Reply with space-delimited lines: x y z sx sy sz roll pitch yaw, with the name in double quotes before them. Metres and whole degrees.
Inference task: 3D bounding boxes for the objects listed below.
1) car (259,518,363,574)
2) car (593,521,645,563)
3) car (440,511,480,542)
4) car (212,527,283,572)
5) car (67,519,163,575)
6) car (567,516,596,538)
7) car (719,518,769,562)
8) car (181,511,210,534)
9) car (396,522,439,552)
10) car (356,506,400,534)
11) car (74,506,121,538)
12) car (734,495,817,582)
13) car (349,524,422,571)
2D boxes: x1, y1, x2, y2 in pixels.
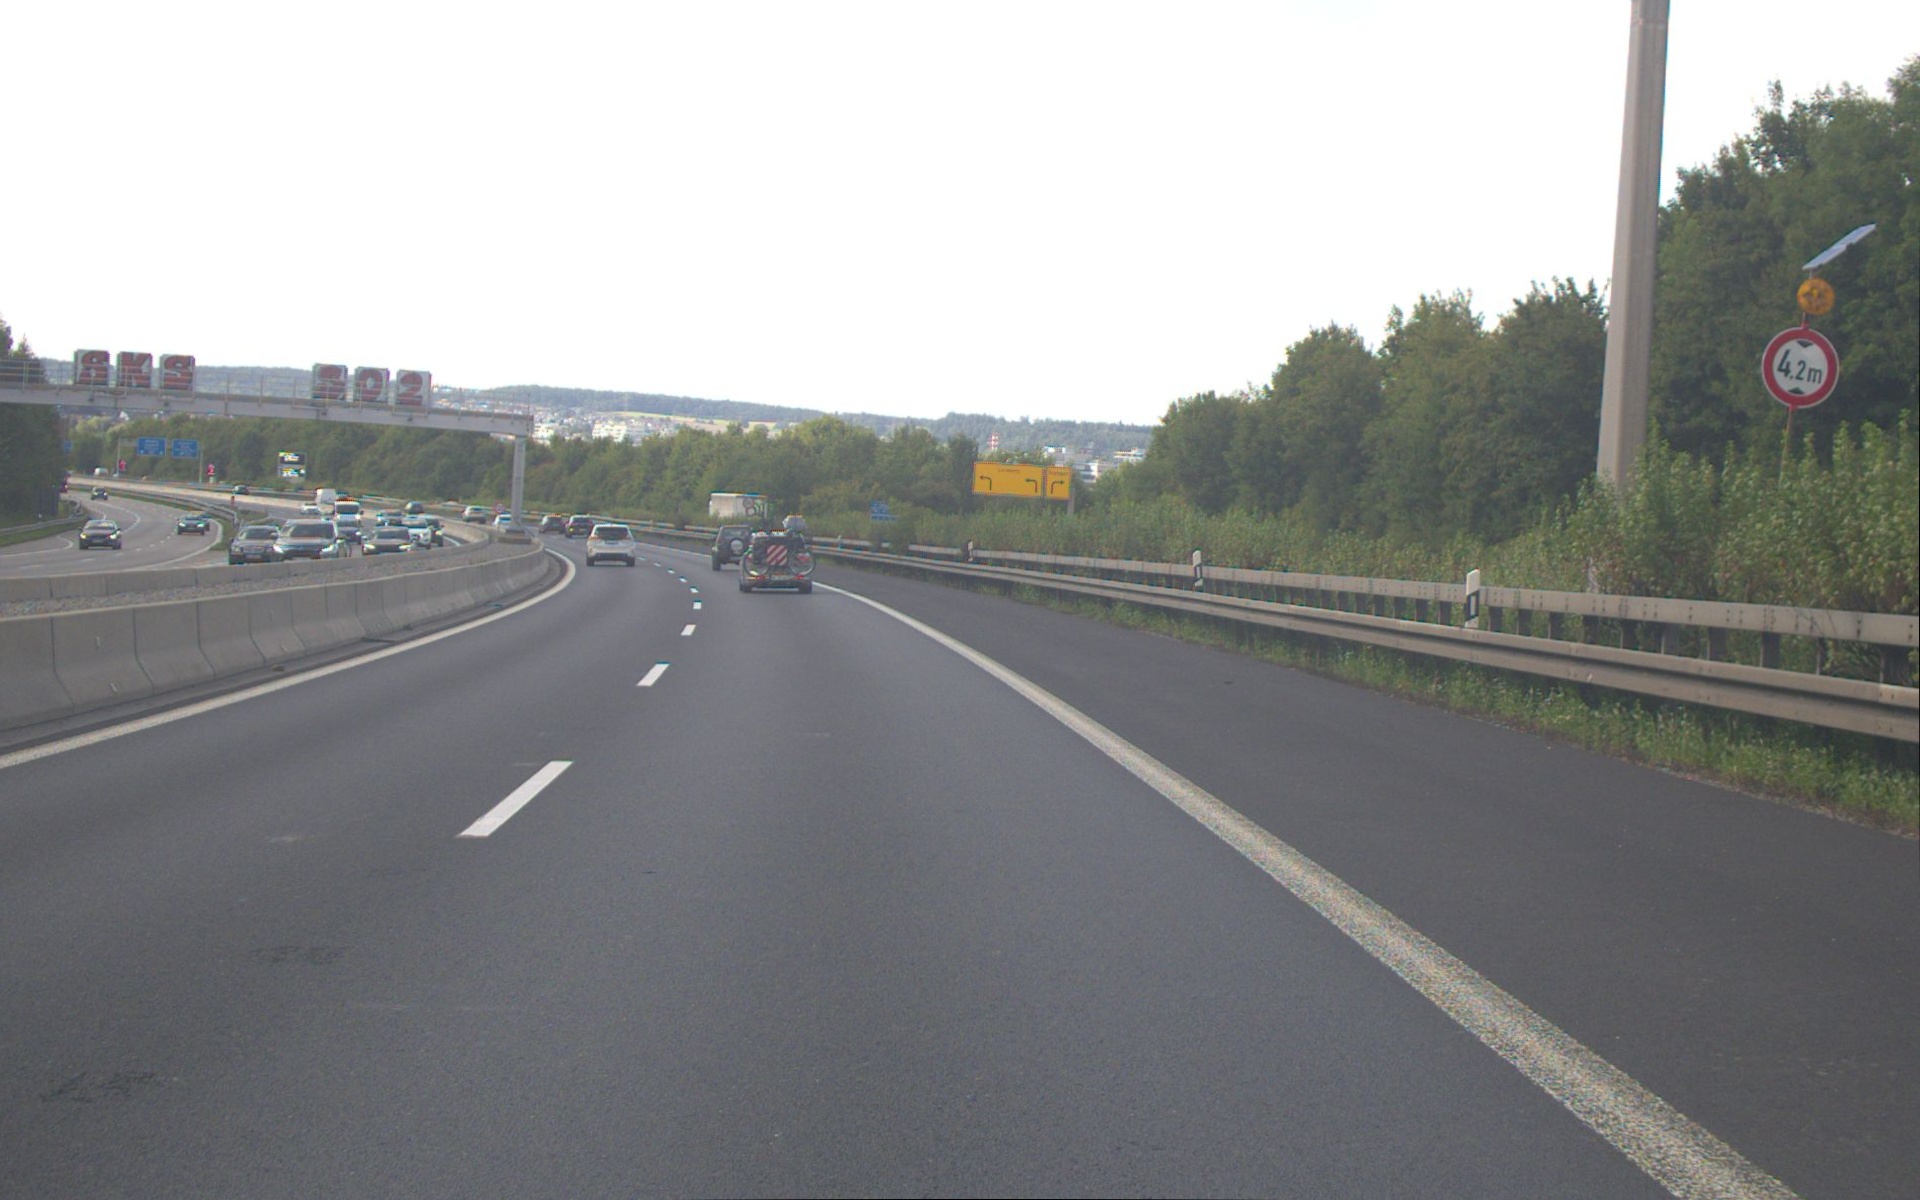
"car" -18.330 -1.535 97.372 1.982 1.504 5.961 1 1 -2
"car" -13.943 -2.357 140.386 1.993 1.678 4.001 1 1 -7
"car" -27.938 -4.108 192.202 1.876 1.691 4.315 1 1 -4
"car" -24.746 -1.762 119.476 1.914 1.504 4.001 1 1 -5
"car" -23.667 -1.508 96.376 1.914 1.504 4.001 1 1 -4
"car" -27.618 -5.297 250.933 1.604 1.552 4.001 1 1 -13
"car" -8.289 -2.318 131.499 1.586 1.591 4.097 1 2 -8
"car" -52.399 -5.320 235.751 1.804 1.568 4.560 1 1 -11
"car" -27.384 -3.179 173.567 1.760 1.455 4.296 1 1 -4
"car" -33.260 -4.560 196.503 1.993 1.534 4.740 1 1 -4
"car" -41.684 -3.771 166.193 1.738 1.504 4.001 1 1 -8
"car" -4.805 -1.618 88.960 2.030 2.144 4.001 1 2 -4
"car" -20.446 -1.871 122.432 1.993 1.621 4.778 1 1 -3
